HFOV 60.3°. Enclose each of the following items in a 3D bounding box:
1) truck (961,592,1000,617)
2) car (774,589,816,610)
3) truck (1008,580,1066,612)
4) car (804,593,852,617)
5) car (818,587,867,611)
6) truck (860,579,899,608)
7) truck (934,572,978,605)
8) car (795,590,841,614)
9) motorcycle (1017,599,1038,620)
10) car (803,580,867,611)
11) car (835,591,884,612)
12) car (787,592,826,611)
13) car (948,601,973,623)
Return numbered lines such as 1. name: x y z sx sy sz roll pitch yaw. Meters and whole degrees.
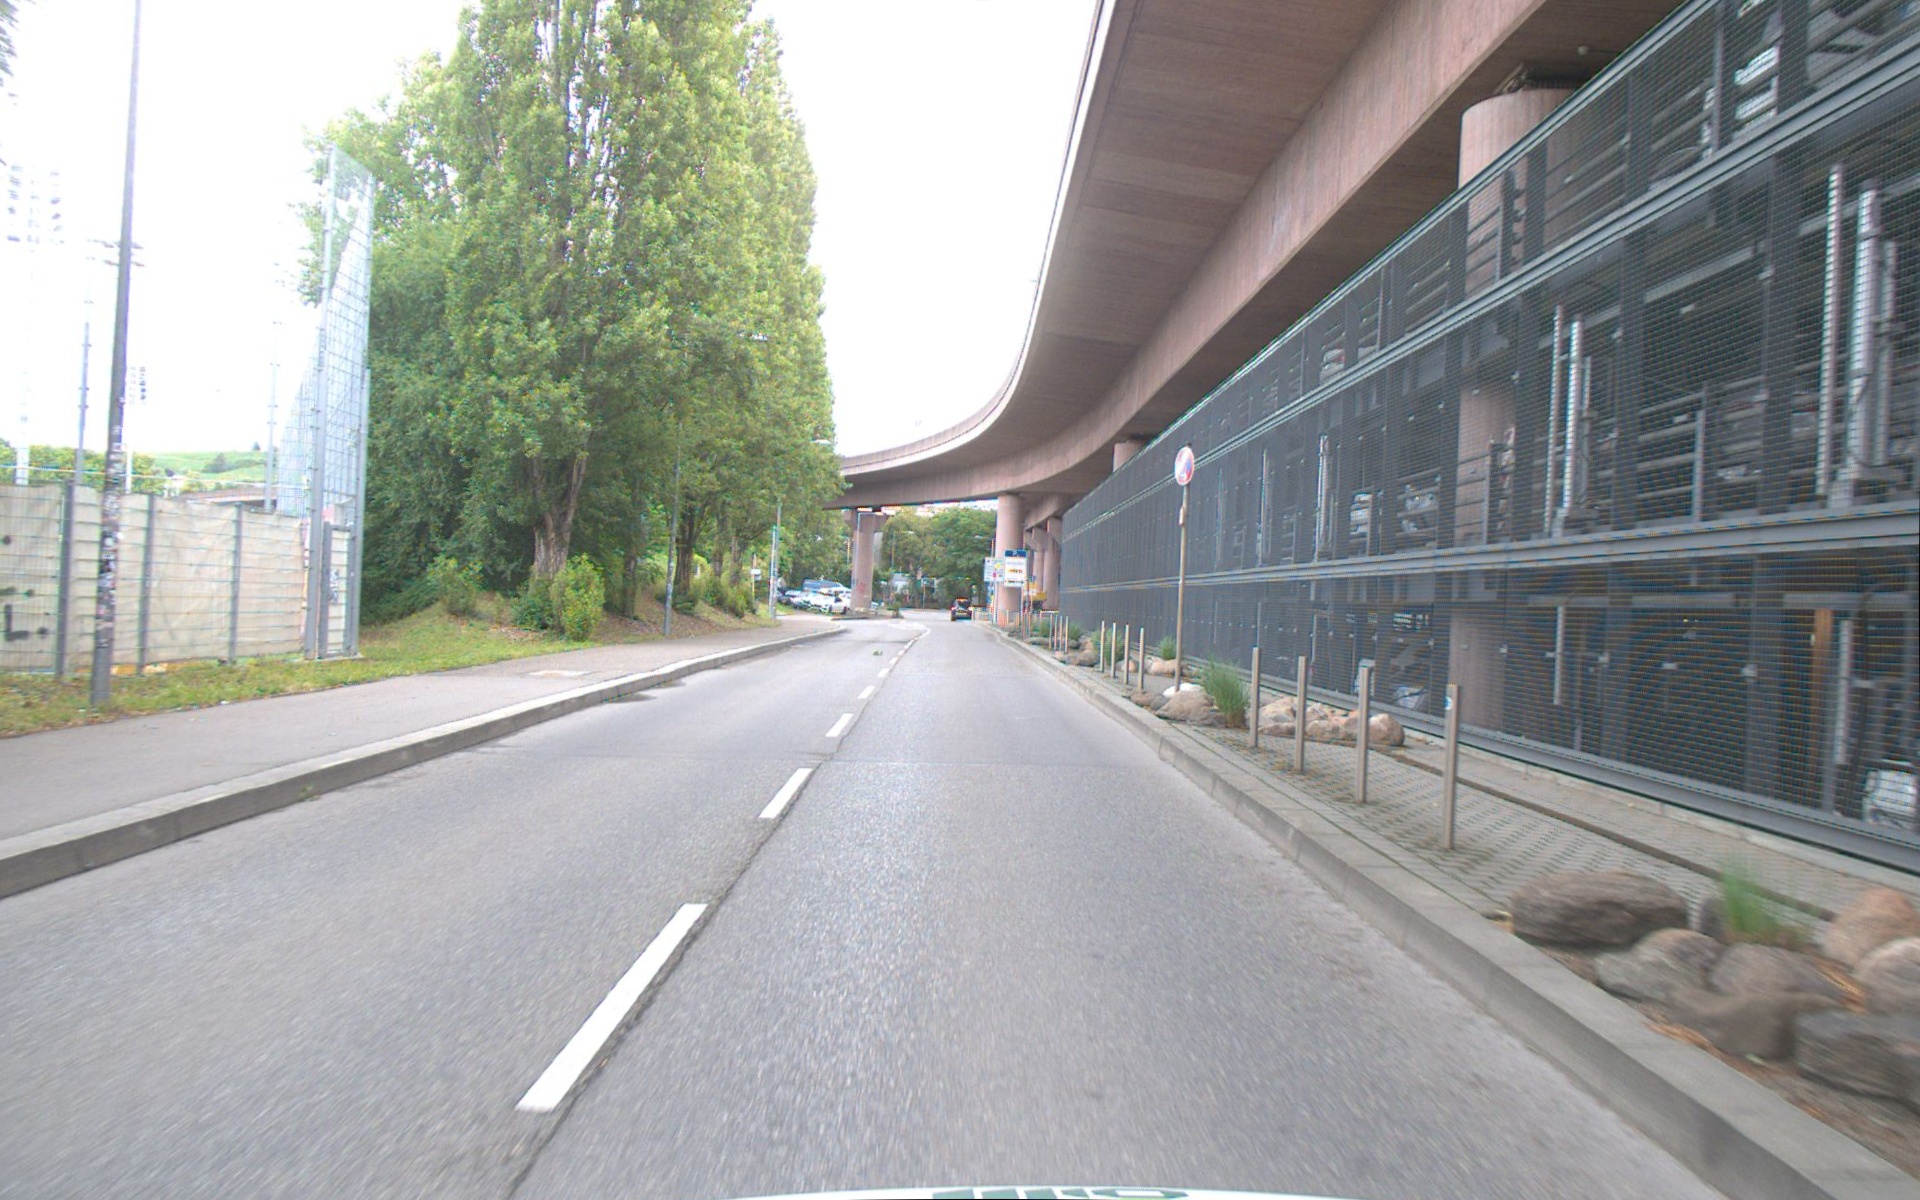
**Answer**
1. truck: 2.623 0.516 215.674 2.873 2.949 6.519 1 2 -21
2. car: -14.491 -0.039 145.616 1.820 1.720 4.162 3 -1 23
3. truck: 9.346 -0.532 200.245 2.879 3.540 8.213 5 4 36
4. car: -10.737 0.421 135.116 1.954 1.505 4.828 6 -1 20
5. car: -11.713 -0.123 165.265 4.460 2.148 1.852 4 0 8
6. truck: -11.427 -0.923 234.813 3.013 3.681 7.862 2 2 -23
7. truck: -0.540 -1.505 214.441 3.021 3.935 8.000 1 2 -21
8. car: -11.906 0.200 138.885 1.954 1.609 4.400 6 0 21
9. motorcycle: 4.659 0.660 114.523 0.783 1.390 2.120 1 0 -17
10. car: -12.679 -0.483 168.188 6.046 2.772 2.369 3 0 4
11. car: -9.686 0.130 159.591 4.288 1.633 1.956 5 0 13
12. car: -13.233 0.169 142.428 1.751 1.479 3.745 2 0 23
13. car: 0.023 0.960 137.620 1.953 1.708 4.559 2 0 -1
